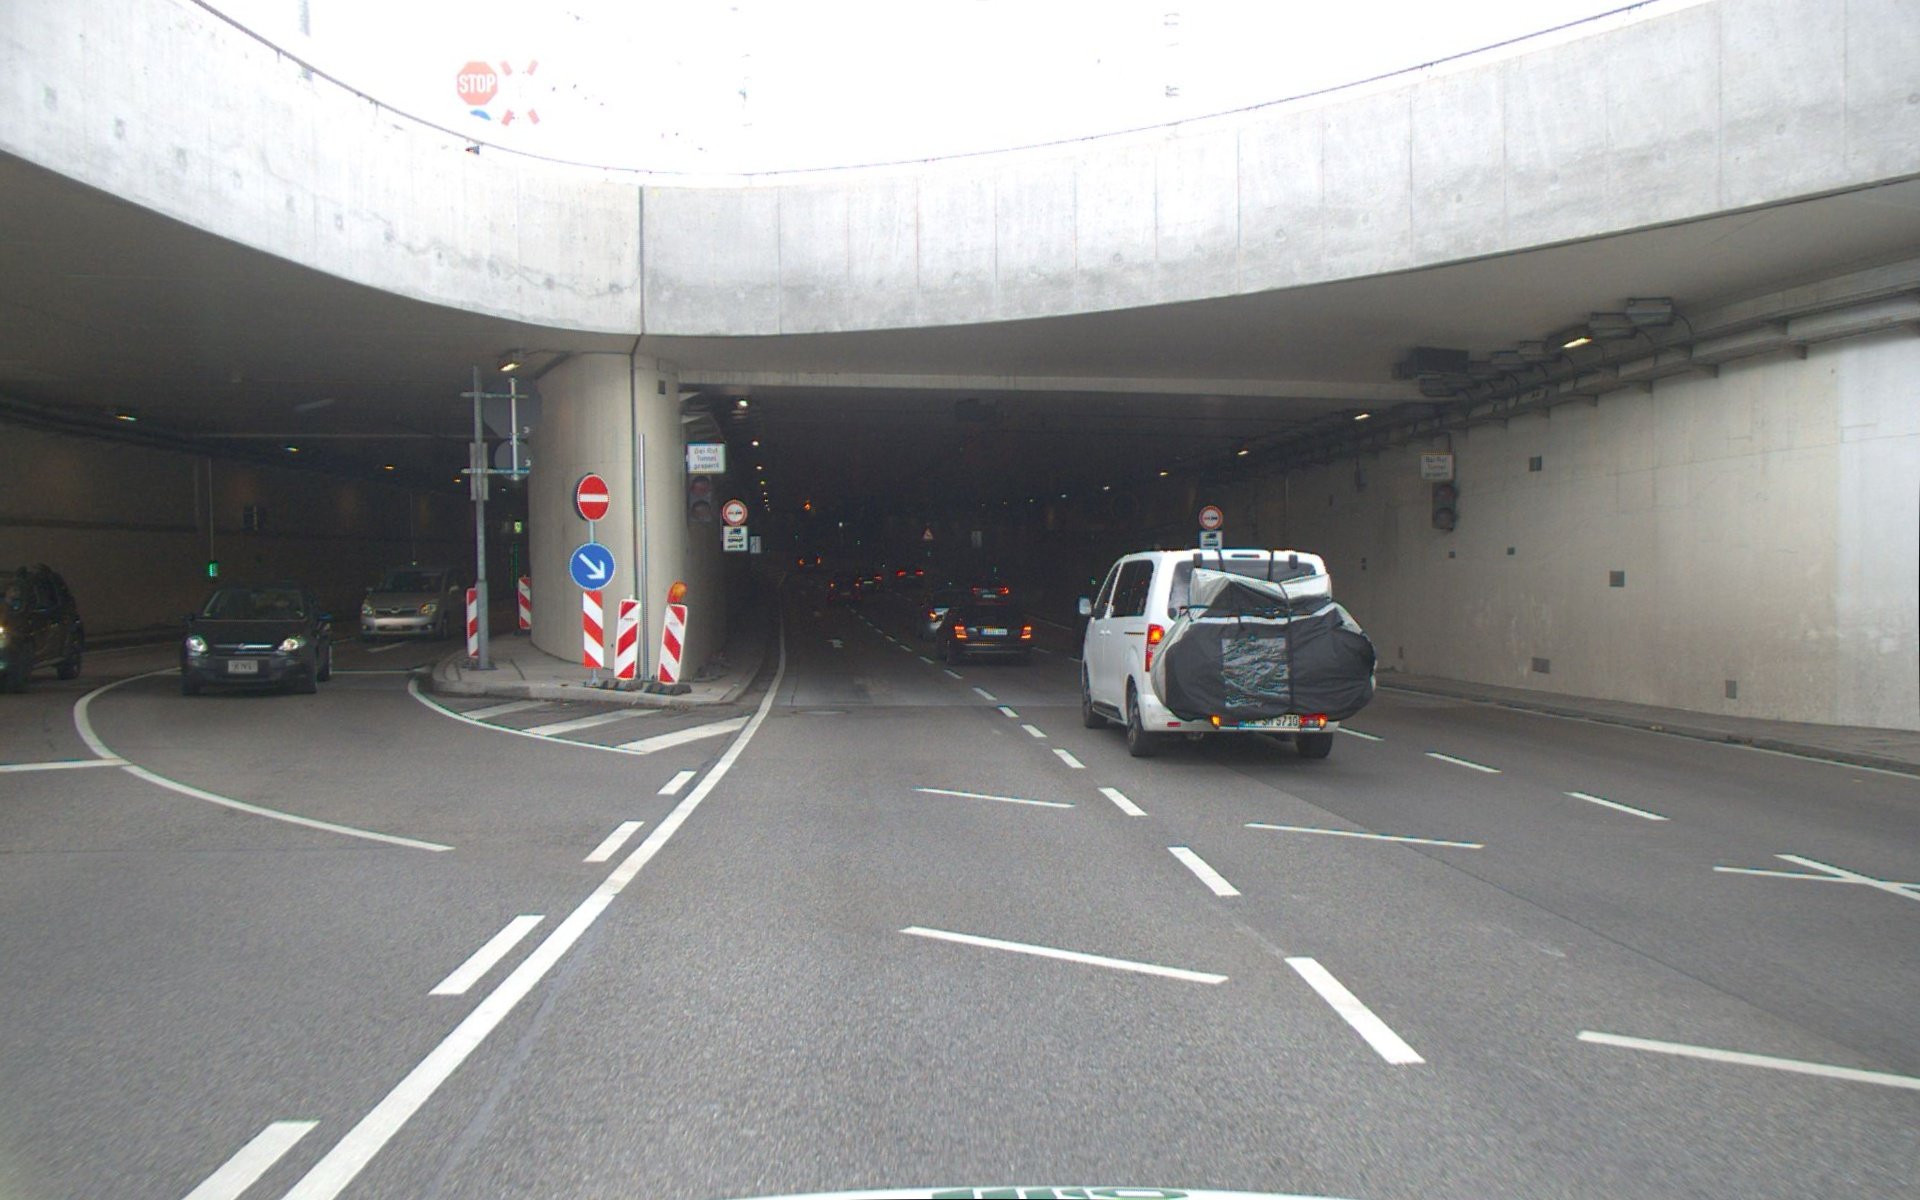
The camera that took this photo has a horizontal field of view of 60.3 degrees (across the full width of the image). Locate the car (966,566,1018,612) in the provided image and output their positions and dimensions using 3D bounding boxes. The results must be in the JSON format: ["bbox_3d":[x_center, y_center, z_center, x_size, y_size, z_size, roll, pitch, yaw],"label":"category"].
[{"bbox_3d":[1.286,-0.469,67.823,1.628,1.662,3.563,3,2,-6],"label":"car"}]

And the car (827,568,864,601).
[{"bbox_3d":[-5.472,-0.732,78.738,1.628,1.514,3.563,0,1,-6],"label":"car"}]

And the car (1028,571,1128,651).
[{"bbox_3d":[2.945,0.241,42.130,1.784,1.779,3.996,3,2,-6],"label":"car"}]

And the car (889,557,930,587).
[{"bbox_3d":[-3.045,-1.642,98.122,1.953,1.705,4.500,0,1,-8],"label":"car"}]

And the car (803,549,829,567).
[{"bbox_3d":[-10.333,-3.014,118.601,1.481,1.268,3.558,0,1,-10],"label":"car"}]

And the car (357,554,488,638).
[{"bbox_3d":[-11.807,-0.151,36.638,1.773,1.632,4.782,-1,2,-6],"label":"car"}]

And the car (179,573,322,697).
[{"bbox_3d":[-9.698,0.397,22.763,1.641,1.466,4.086,-1,2,-22],"label":"car"}]

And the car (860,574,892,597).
[{"bbox_3d":[-4.729,-0.825,92.493,1.631,1.268,3.563,0,1,-6],"label":"car"}]

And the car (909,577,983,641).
[{"bbox_3d":[-0.446,0.219,47.812,1.783,1.607,3.997,3,2,-5],"label":"car"}]

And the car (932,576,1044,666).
[{"bbox_3d":[0.525,0.399,34.667,1.784,1.713,3.994,1,1,-7],"label":"car"}]

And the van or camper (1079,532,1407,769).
[{"bbox_3d":[2.480,0.394,16.052,1.954,1.877,5.505,1,0,-3],"label":"van or camper"}]

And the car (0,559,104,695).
[{"bbox_3d":[-13.247,0.295,22.806,1.765,1.627,4.309,1,2,-17],"label":"car"}]

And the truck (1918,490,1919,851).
[{"bbox_3d":[6.648,-0.157,5.365,2.596,3.240,7.424,0,2,-2],"label":"truck"}]
